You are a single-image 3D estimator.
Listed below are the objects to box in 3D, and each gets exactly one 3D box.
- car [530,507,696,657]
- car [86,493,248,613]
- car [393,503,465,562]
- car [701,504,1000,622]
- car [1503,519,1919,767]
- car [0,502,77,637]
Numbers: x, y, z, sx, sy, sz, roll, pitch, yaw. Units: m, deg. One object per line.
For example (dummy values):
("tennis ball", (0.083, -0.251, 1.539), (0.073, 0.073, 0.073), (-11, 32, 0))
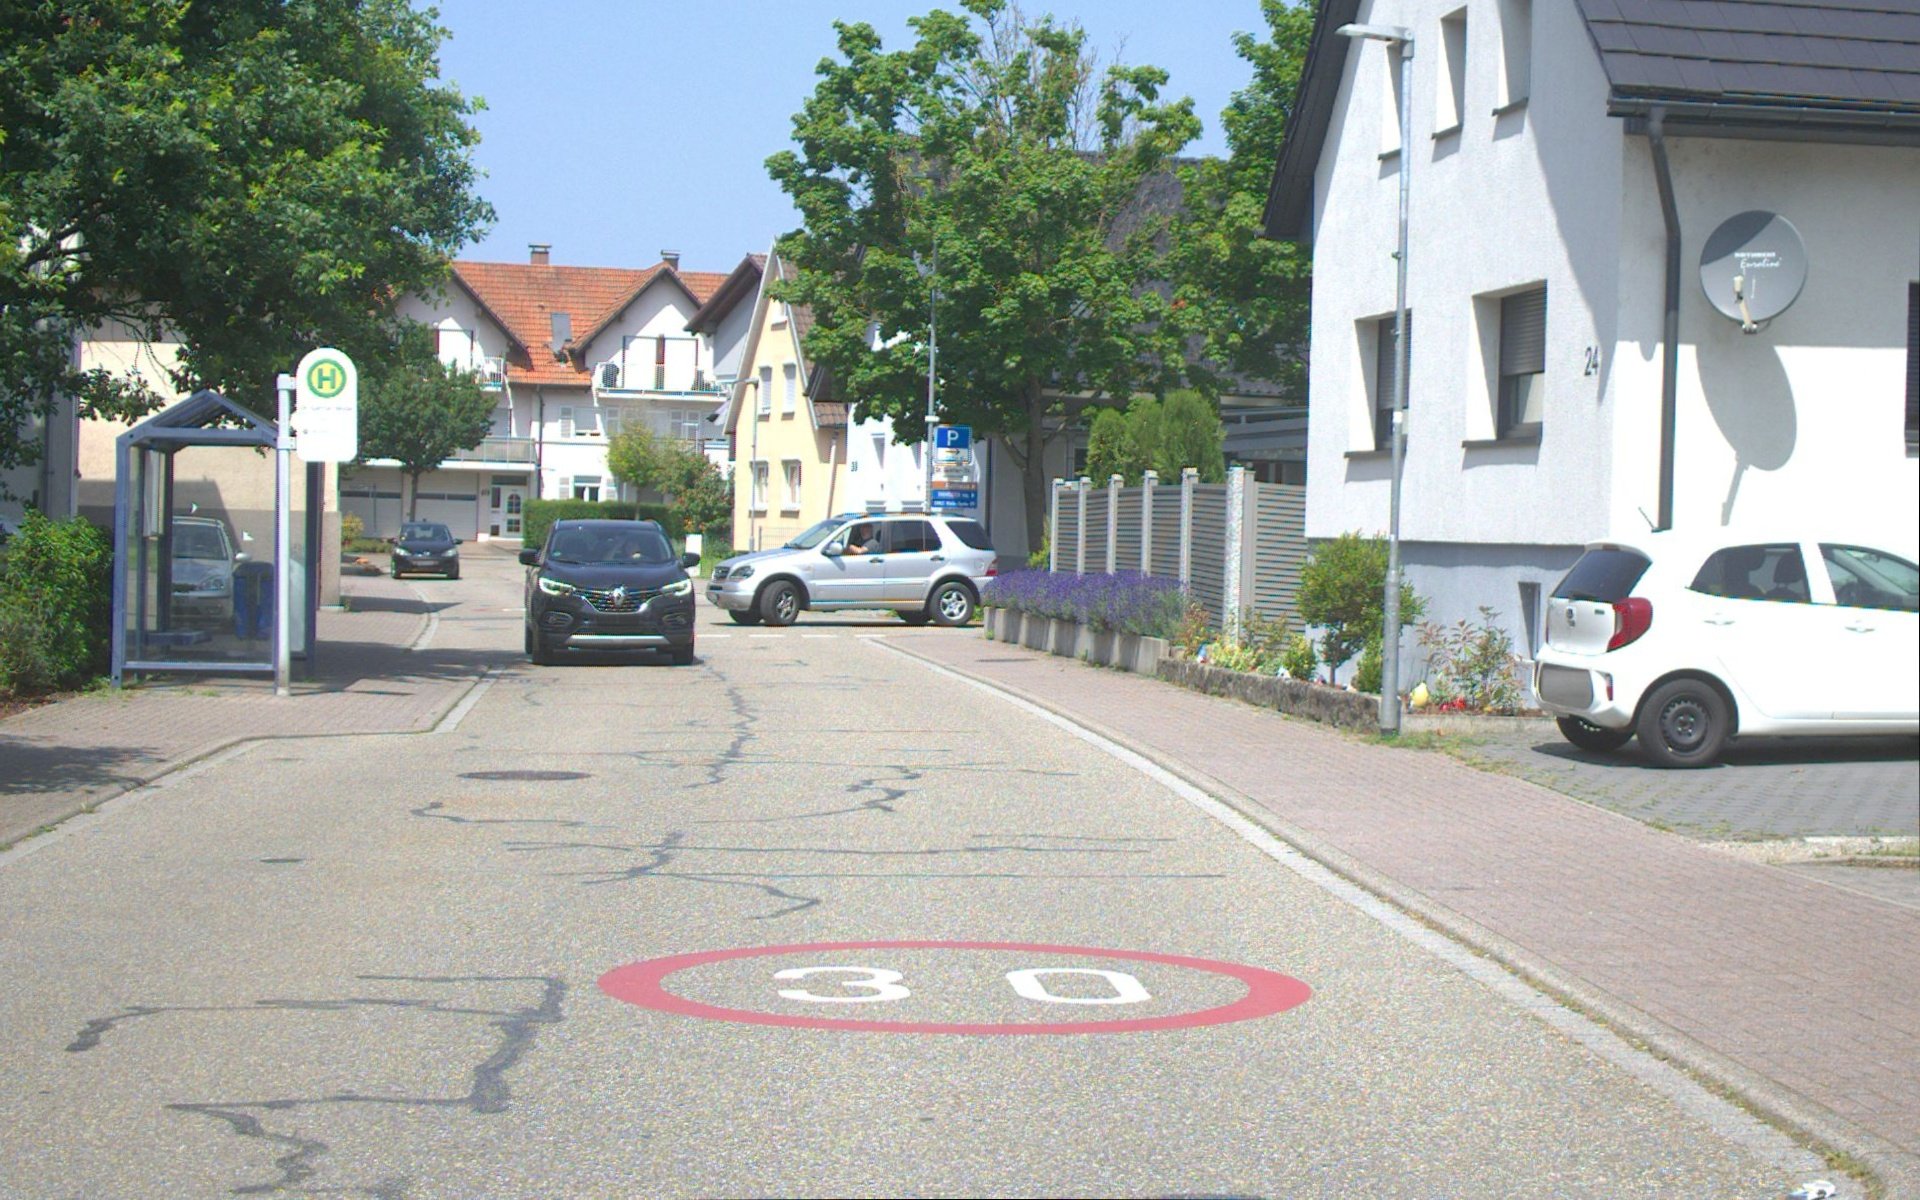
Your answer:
("car", (-4.025, -0.240, 39.433), (1.775, 1.618, 4.106), (0, 1, -7))
("car", (-10.186, -0.637, 44.381), (1.778, 1.430, 4.057), (1, 2, -10))
("car", (-13.890, -1.779, 89.840), (1.626, 1.481, 4.001), (0, 2, -12))
("car", (-1.721, -0.594, 53.662), (4.315, 1.761, 1.892), (0, 3, -17))
("car", (5.572, 0.236, 22.340), (3.656, 1.469, 1.766), (-1, 2, -10))
("car", (-12.559, -0.349, 40.123), (4.159, 1.533, 1.774), (-1, 2, -8))
